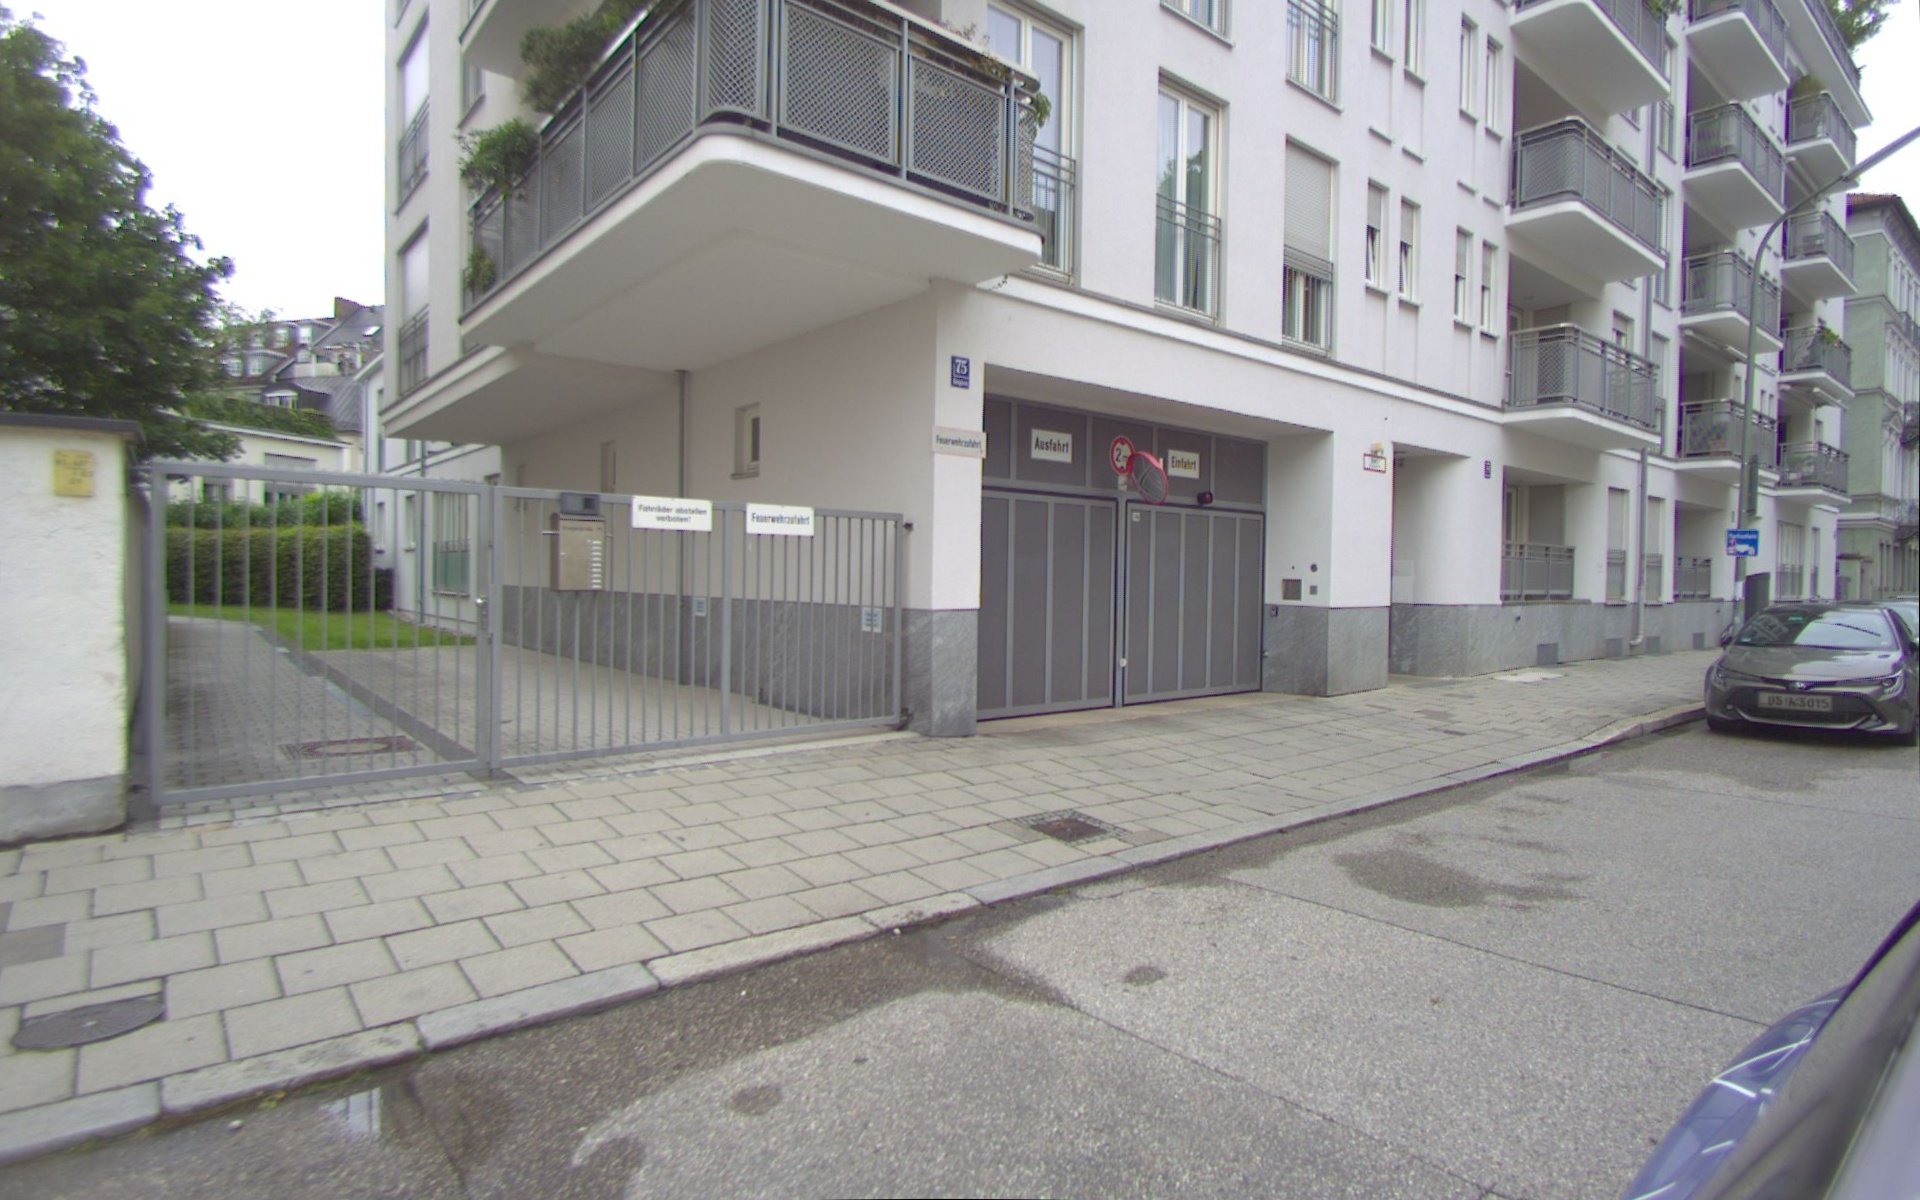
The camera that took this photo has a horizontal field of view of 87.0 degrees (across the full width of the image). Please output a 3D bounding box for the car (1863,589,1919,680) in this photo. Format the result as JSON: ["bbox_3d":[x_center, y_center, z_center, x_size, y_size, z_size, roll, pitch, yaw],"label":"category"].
[{"bbox_3d":[17.195,0.558,17.622,3.683,1.475,1.765,-1,2,-41],"label":"car"}]

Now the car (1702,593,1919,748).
[{"bbox_3d":[10.057,0.652,11.633,4.176,1.411,1.781,-1,2,-44],"label":"car"}]

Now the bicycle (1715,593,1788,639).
[{"bbox_3d":[18.123,0.353,23.166,1.913,1.027,0.582,0,0,-28],"label":"bicycle"}]

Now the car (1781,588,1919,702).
[{"bbox_3d":[13.575,0.580,14.909,3.359,1.475,1.765,-1,2,-41],"label":"car"}]

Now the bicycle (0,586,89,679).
[{"bbox_3d":[-11.510,0.387,12.122,1.611,1.097,0.373,0,0,-39],"label":"bicycle"}]

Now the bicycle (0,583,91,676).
[{"bbox_3d":[-12.140,0.366,12.888,1.611,1.175,0.423,0,0,-40],"label":"bicycle"}]

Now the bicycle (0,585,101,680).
[{"bbox_3d":[-11.150,0.378,11.870,1.611,1.097,0.373,0,0,-39],"label":"bicycle"}]
